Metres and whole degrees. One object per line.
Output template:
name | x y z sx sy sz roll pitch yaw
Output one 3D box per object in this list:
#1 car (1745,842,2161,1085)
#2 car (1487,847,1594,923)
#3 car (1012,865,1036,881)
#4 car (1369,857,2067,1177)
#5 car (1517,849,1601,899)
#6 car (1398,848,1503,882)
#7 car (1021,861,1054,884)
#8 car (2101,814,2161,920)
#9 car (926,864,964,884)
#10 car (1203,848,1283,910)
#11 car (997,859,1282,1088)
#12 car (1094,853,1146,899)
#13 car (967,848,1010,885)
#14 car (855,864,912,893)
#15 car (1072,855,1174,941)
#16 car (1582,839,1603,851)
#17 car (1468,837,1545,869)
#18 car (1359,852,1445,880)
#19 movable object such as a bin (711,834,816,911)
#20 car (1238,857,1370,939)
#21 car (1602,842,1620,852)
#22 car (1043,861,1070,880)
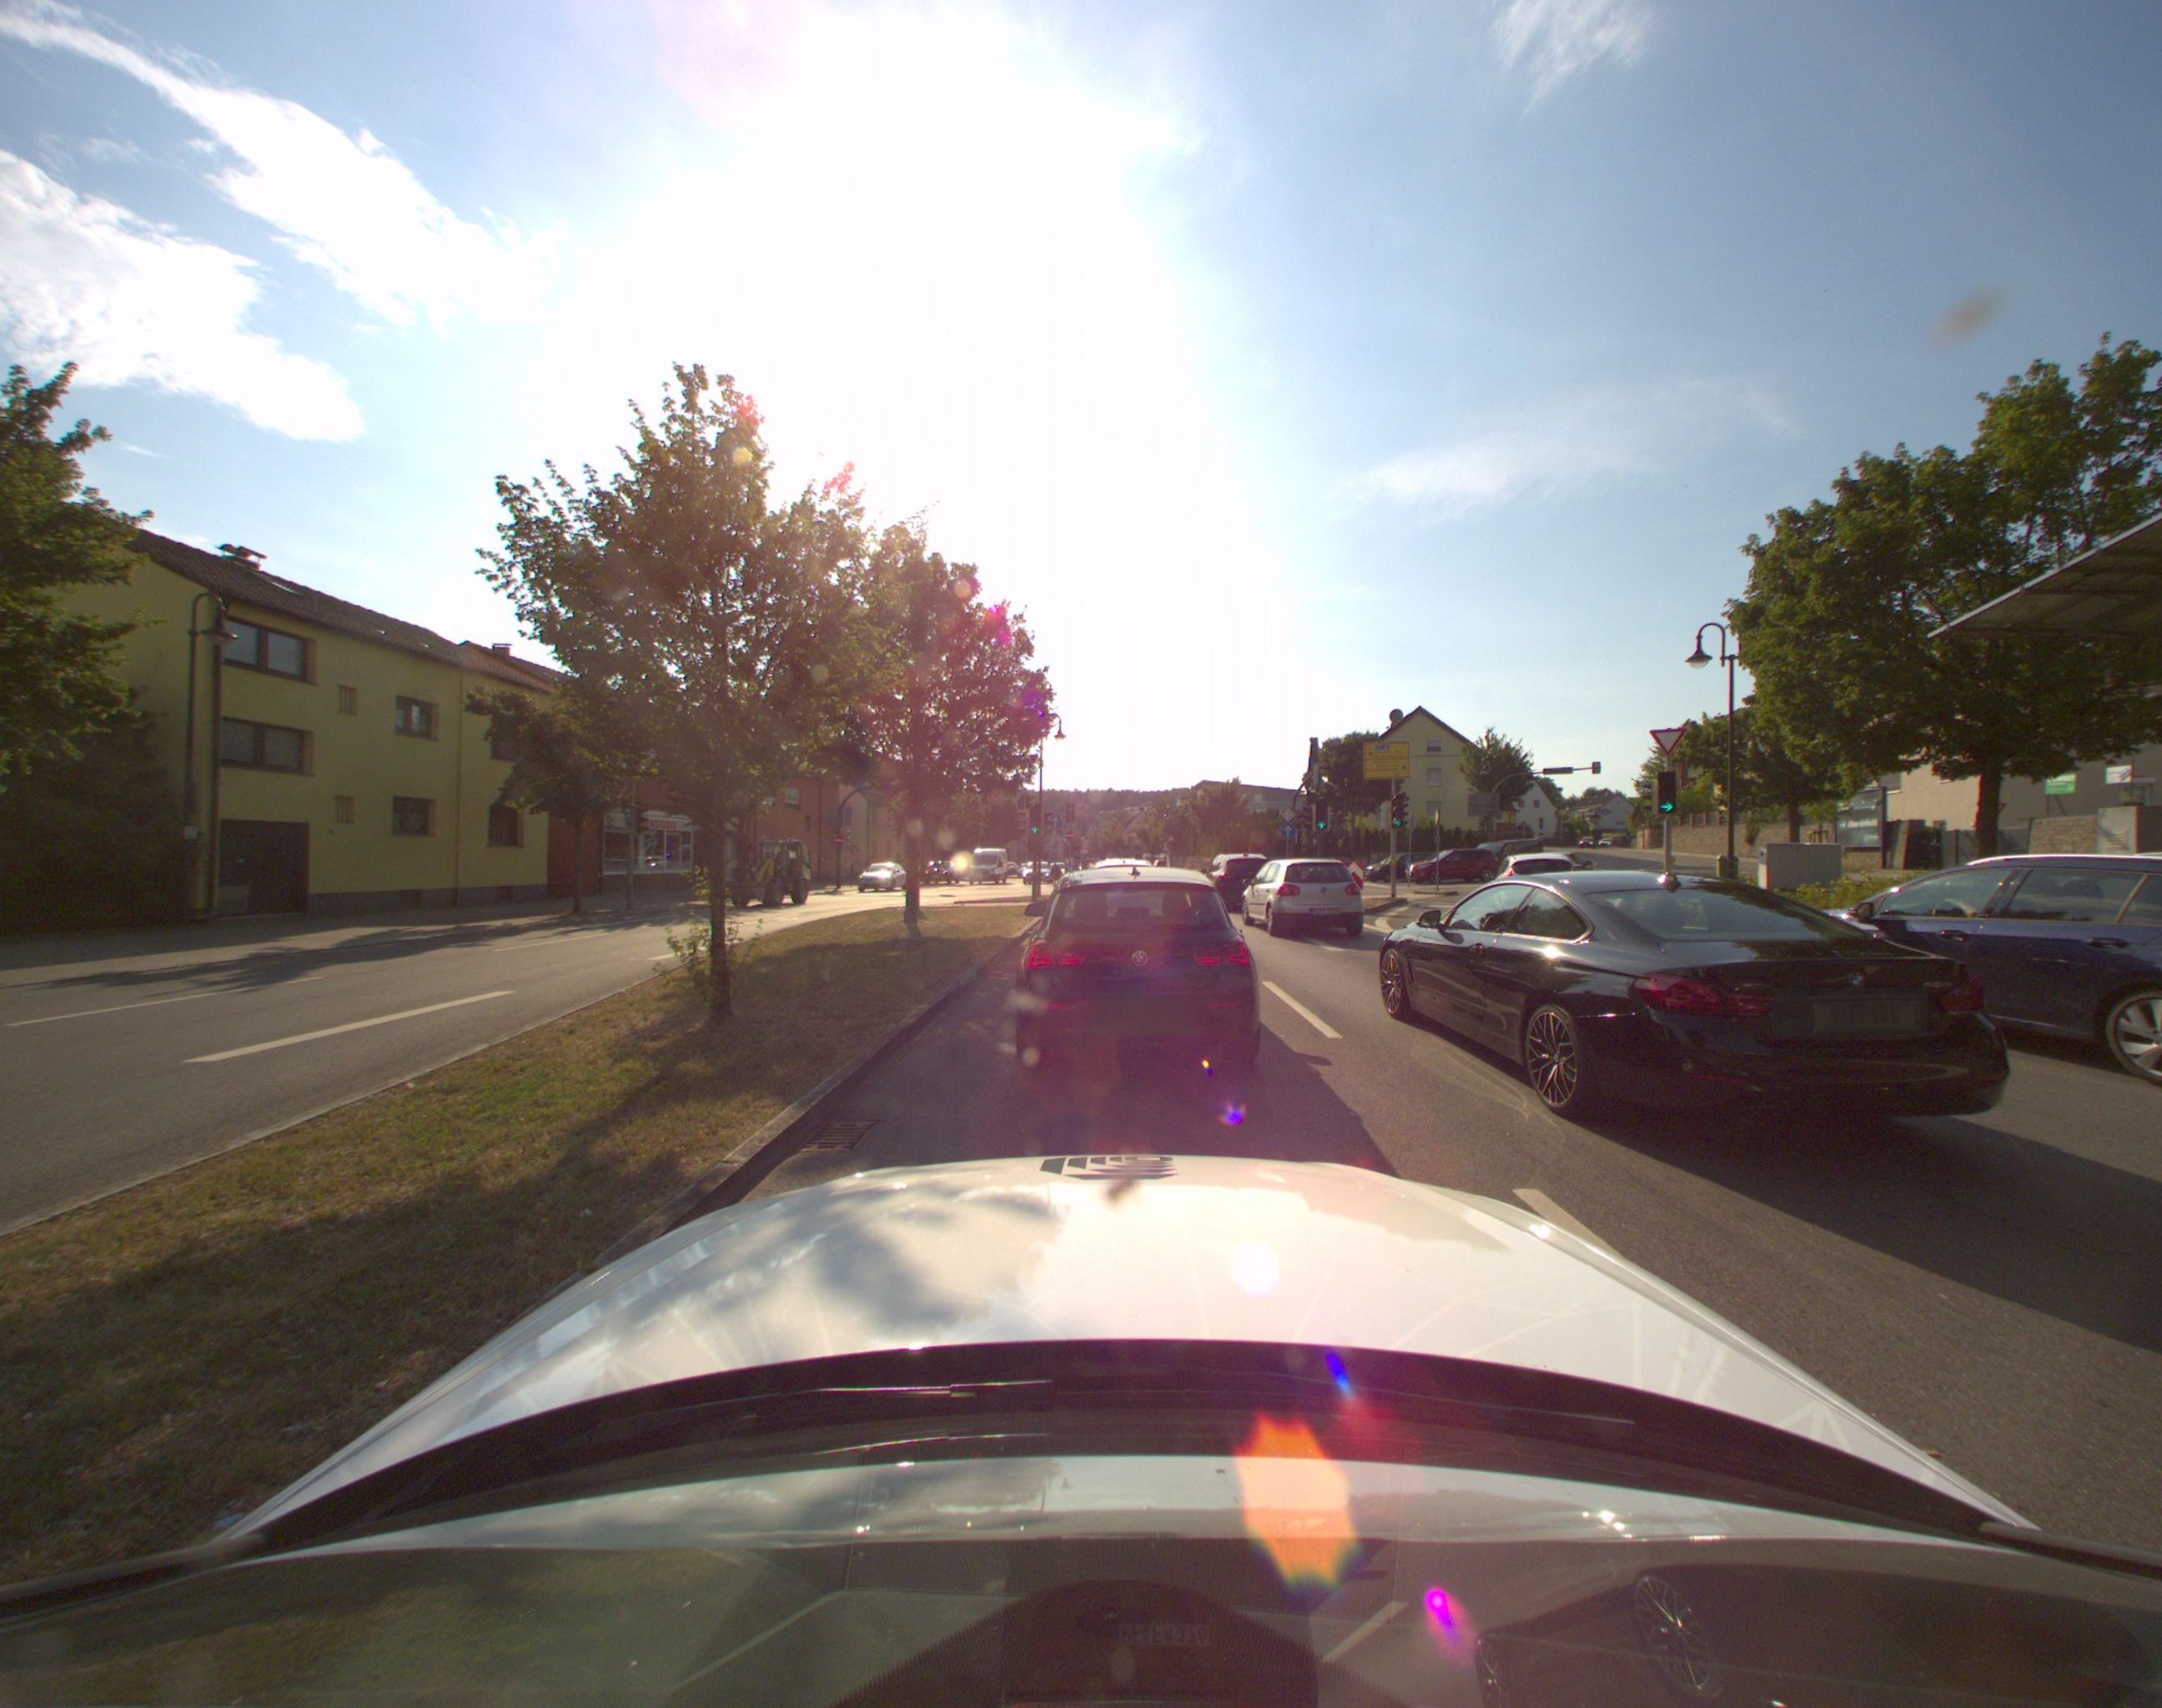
car | 7.553 0.663 6.124 1.754 1.453 4.323 -2 0 4
car | 10.327 0.650 18.510 1.604 1.542 3.335 -2 0 21
car | -5.488 1.804 79.407 1.831 1.482 4.003 -1 0 3
car | 3.629 0.748 5.828 1.755 1.397 4.283 -2 0 2
car | 16.670 0.661 28.289 1.640 1.542 4.426 -2 0 42
car | 18.358 0.528 40.556 4.410 1.641 1.845 0 0 -6
car | -2.940 1.227 55.560 1.832 1.482 4.002 -1 0 2
car | 18.496 0.189 12.205 3.793 1.632 1.784 0 0 10
car | -9.766 1.419 58.637 1.729 1.301 3.804 4 0 5
car | 4.783 0.689 24.550 1.755 1.656 3.905 -2 0 2
car | 0.468 0.781 7.360 1.781 1.397 4.283 -2 0 2
car | 1.489 0.790 31.191 1.781 1.594 4.283 -2 0 2
car | -6.348 0.848 56.642 2.076 2.394 5.532 0 -1 3
car | -10.296 1.264 42.707 1.729 1.301 3.804 4 0 5
car | 0.855 0.804 16.871 1.781 1.494 4.283 -2 0 2
car | 73.791 -1.340 117.502 1.946 1.680 4.241 -2 -1 41
car | 24.107 -0.054 46.076 4.803 1.739 1.829 0 0 -34
car | 17.355 0.645 44.179 3.974 1.489 1.848 0 0 -1
movable object such as a bin | -10.952 0.610 28.475 1.729 2.442 4.452 -1 0 3
car | 4.411 0.801 16.700 1.755 1.426 3.905 -2 0 2
car | 90.806 -1.240 139.628 1.946 1.680 4.241 -2 -1 41
car | -1.975 1.321 66.190 1.832 1.482 4.002 -1 0 2
